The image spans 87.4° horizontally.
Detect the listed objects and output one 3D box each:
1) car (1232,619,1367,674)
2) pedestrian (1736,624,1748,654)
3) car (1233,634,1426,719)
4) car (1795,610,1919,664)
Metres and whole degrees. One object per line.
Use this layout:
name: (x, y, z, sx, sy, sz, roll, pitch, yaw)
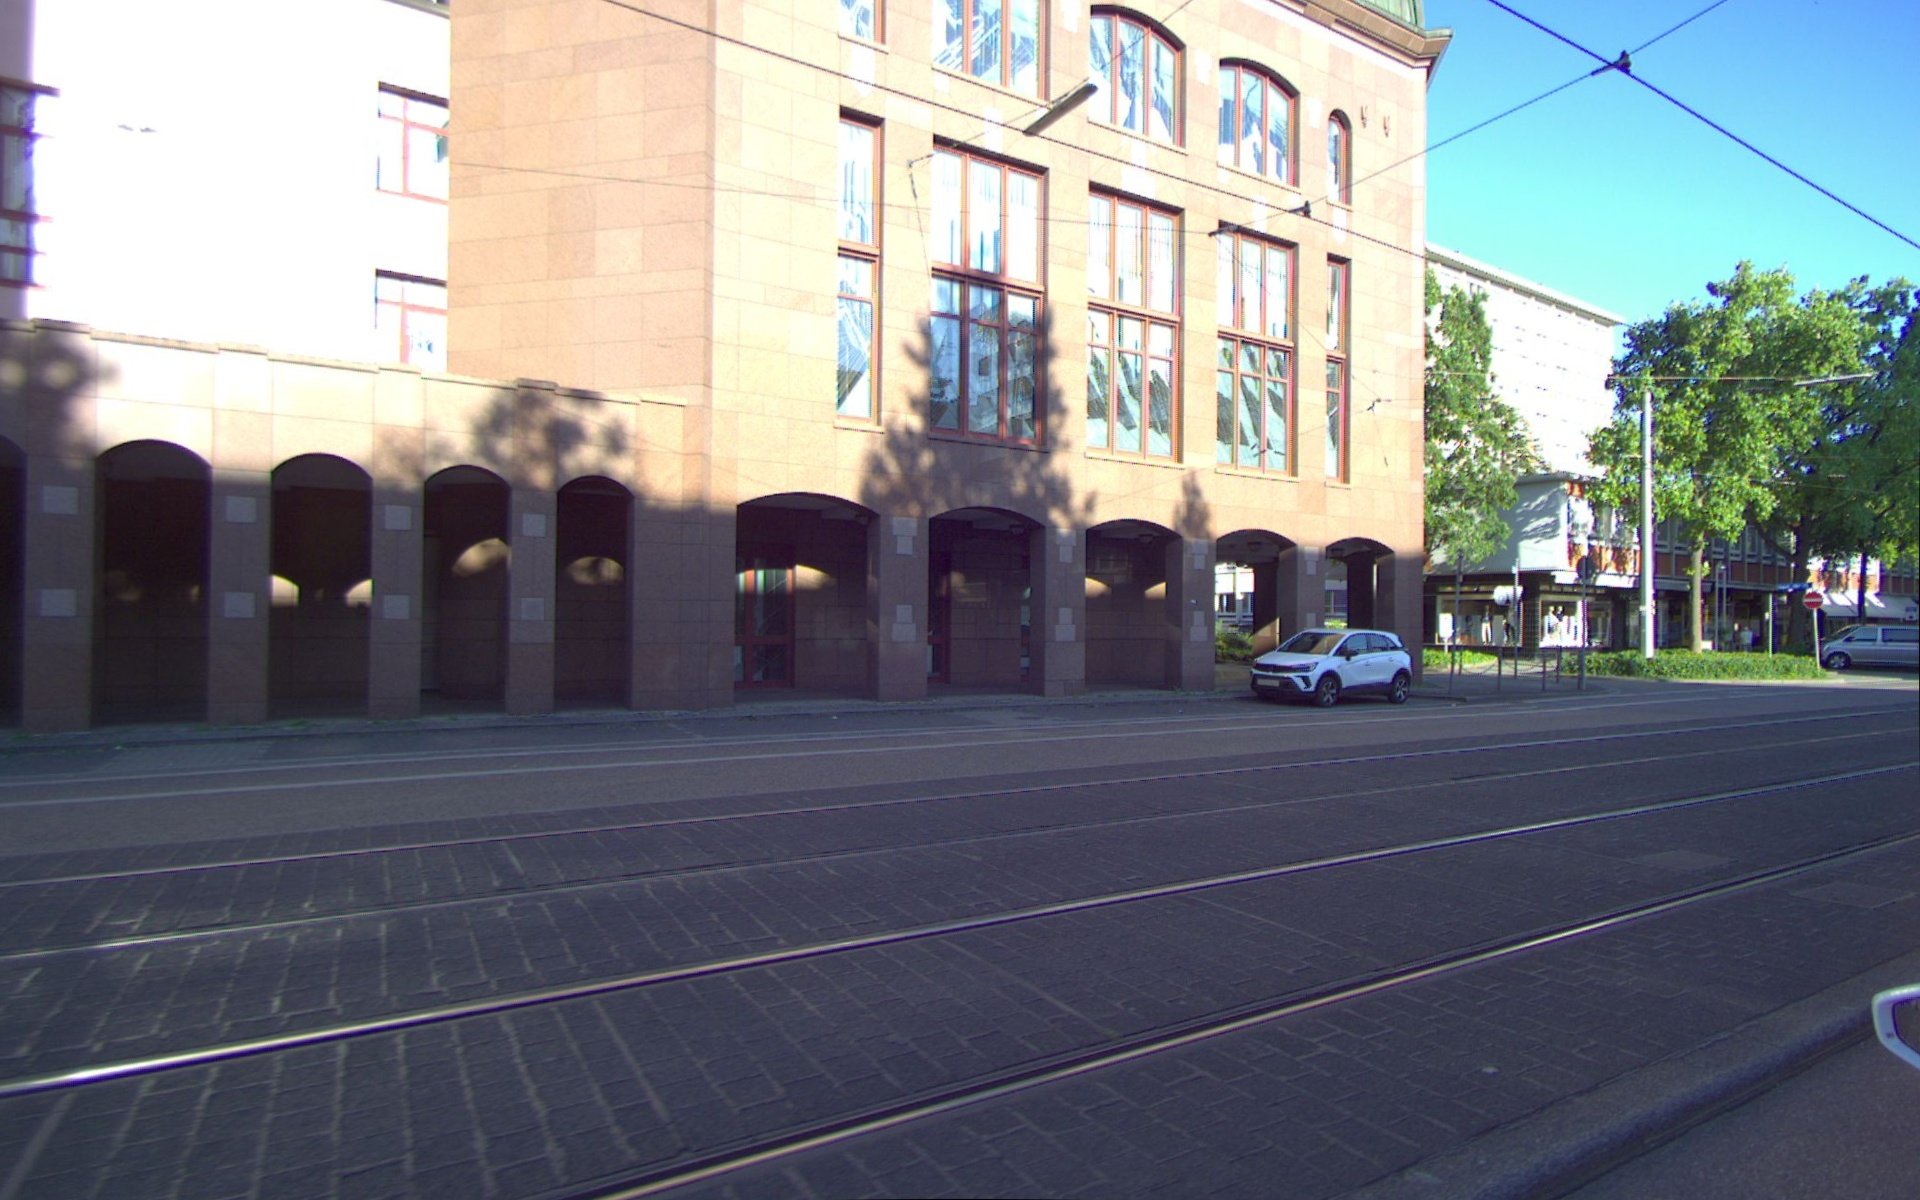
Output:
car: (13.841, 1.854, 41.205, 2.134, 2.020, 4.878, 1, 0, -39)
pedestrian: (35.863, 1.788, 46.060, 0.358, 1.361, 0.481, 3, 2, 39)
car: (8.133, 1.595, 22.018, 4.209, 1.621, 1.858, 1, 0, -34)
car: (39.394, 1.589, 42.948, 5.172, 2.069, 2.416, 3, 0, 28)
